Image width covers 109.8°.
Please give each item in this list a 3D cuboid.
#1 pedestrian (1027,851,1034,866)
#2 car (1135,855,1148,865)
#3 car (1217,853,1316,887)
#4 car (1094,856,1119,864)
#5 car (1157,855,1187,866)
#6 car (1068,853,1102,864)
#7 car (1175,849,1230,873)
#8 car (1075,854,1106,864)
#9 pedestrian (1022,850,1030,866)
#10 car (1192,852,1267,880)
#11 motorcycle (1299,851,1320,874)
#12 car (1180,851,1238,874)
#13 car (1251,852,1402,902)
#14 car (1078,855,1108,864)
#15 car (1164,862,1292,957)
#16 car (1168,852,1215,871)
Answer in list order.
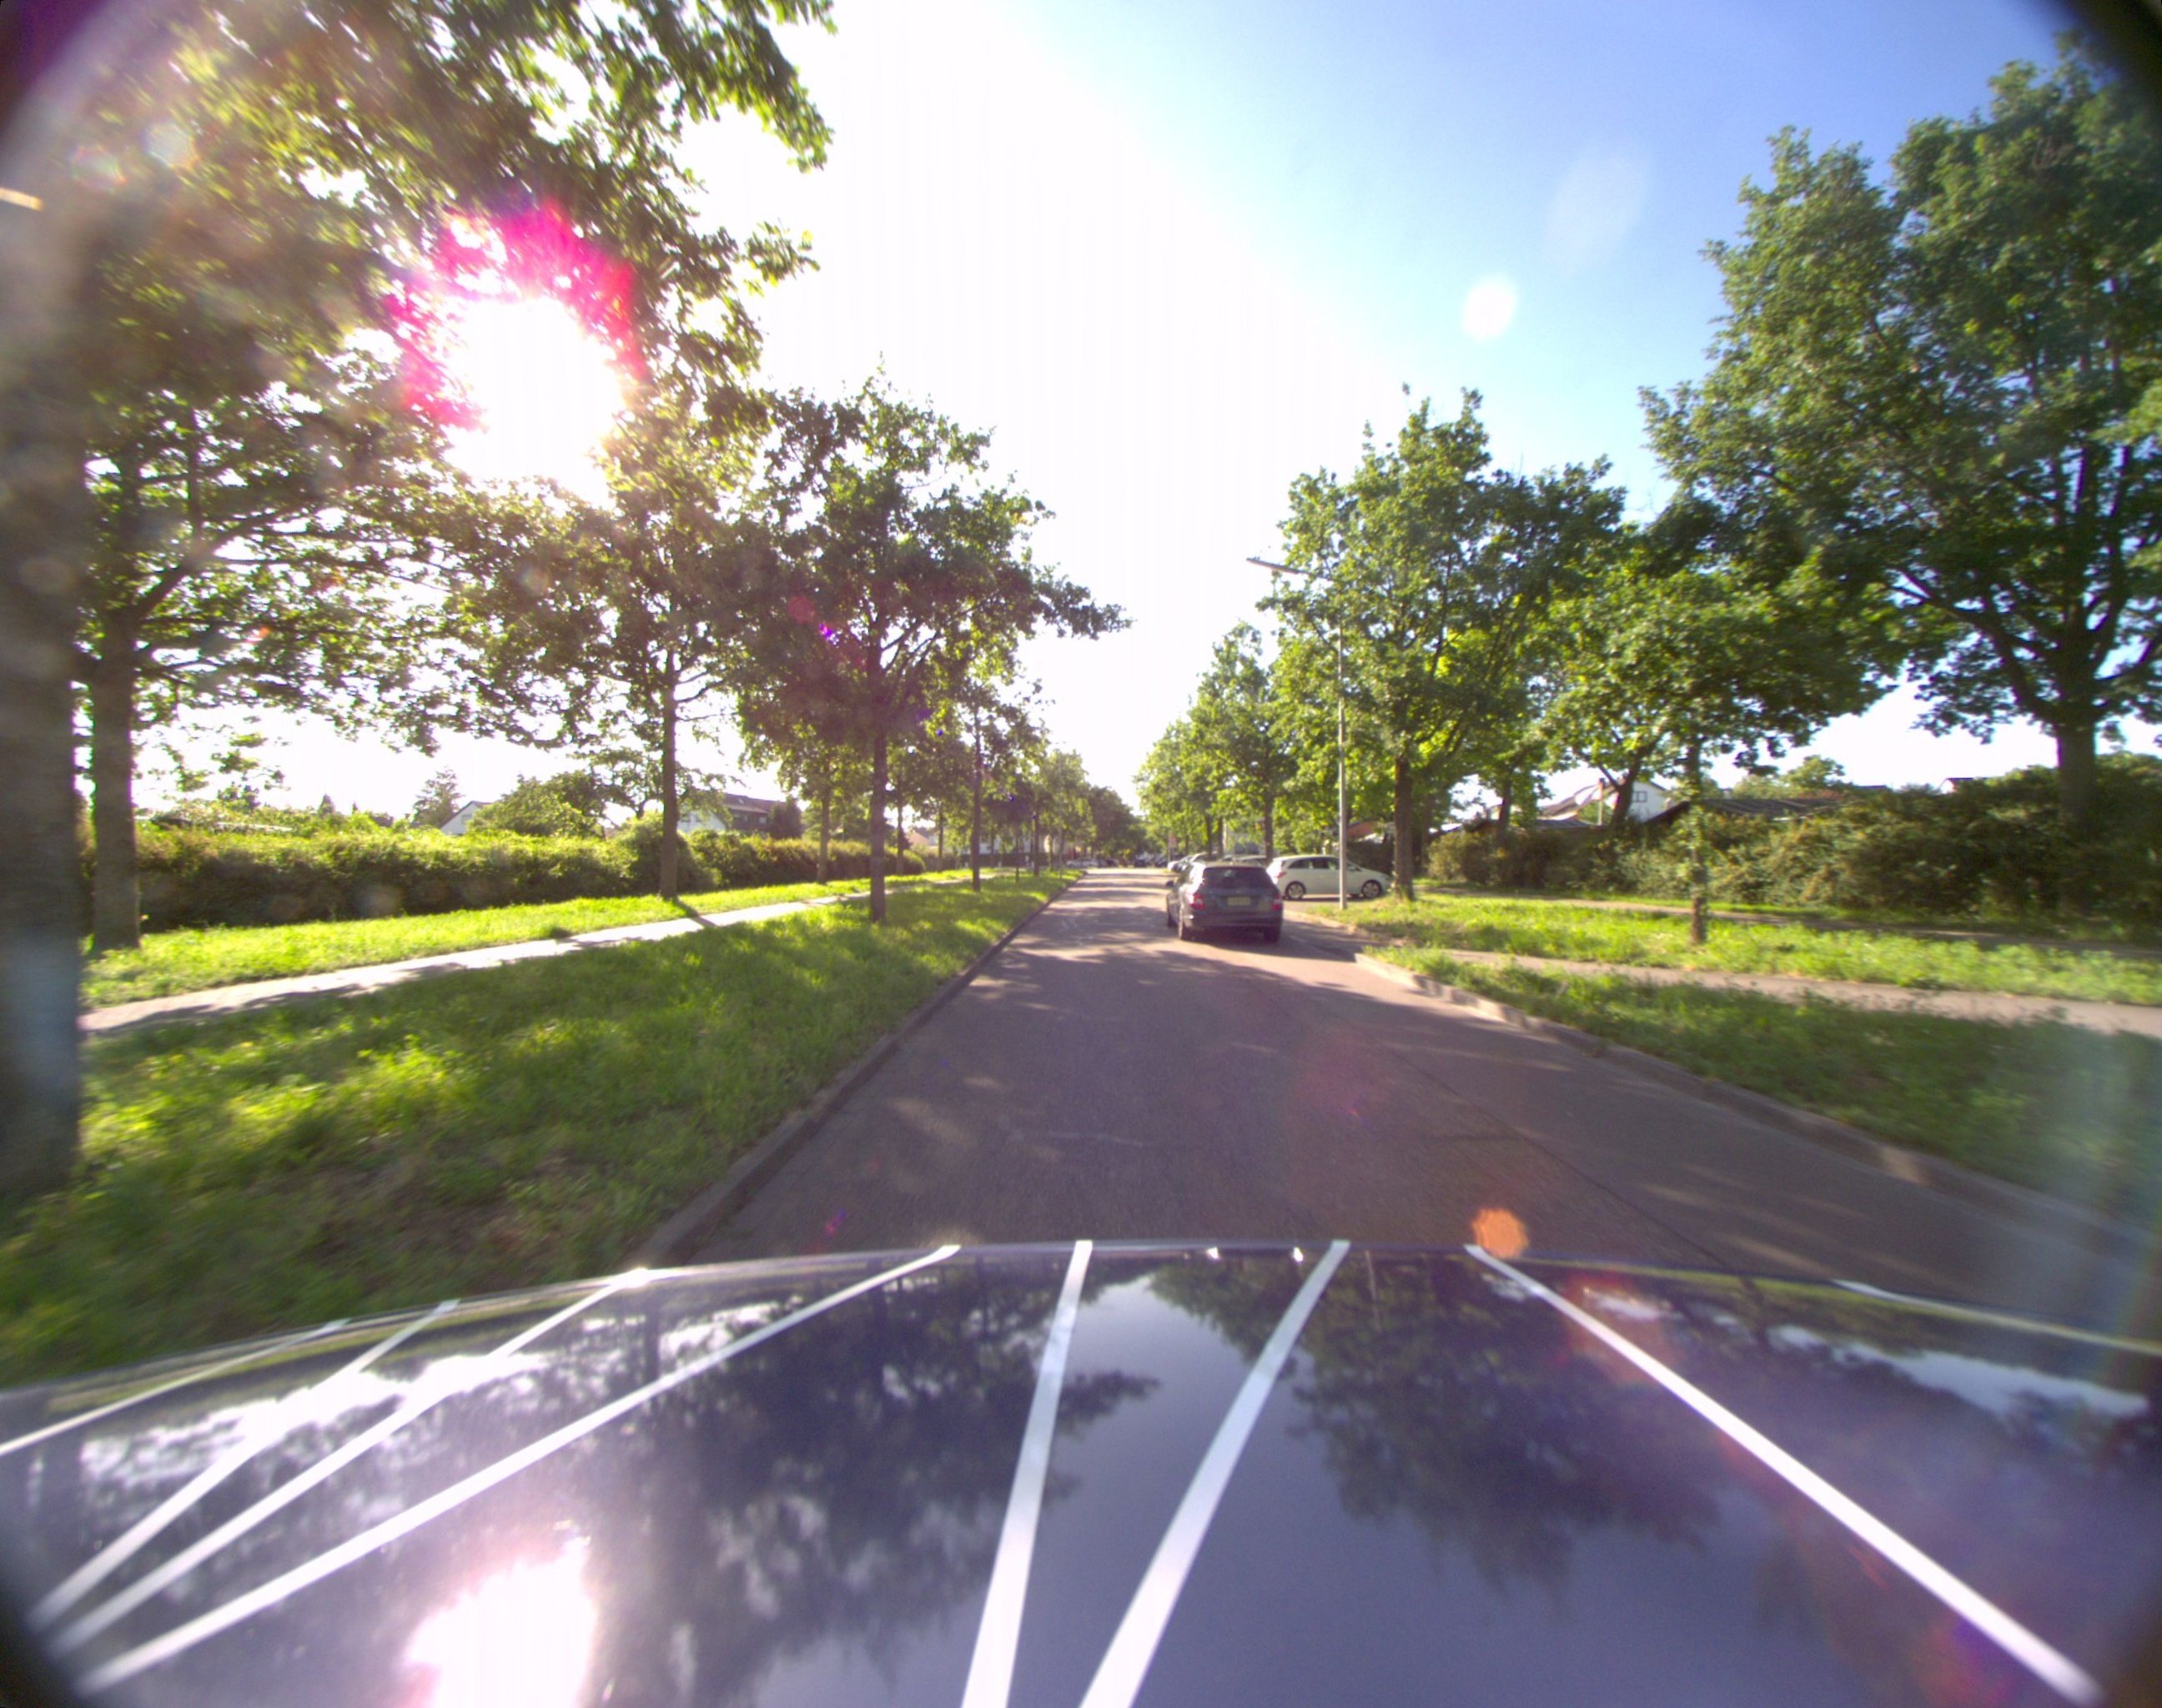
[{"bbox_3d":[-6.318,0.603,95.188,0.869,1.855,0.665,0,1,-9],"label":"pedestrian"},{"bbox_3d":[8.613,0.850,108.910,1.688,1.394,4.428,0,0,3],"label":"car"},{"bbox_3d":[9.231,0.776,38.007,4.423,1.502,2.088,-2,0,1],"label":"car"},{"bbox_3d":[4.649,1.153,139.314,4.510,1.470,1.942,0,0,4],"label":"car"},{"bbox_3d":[12.355,0.854,102.712,4.033,1.470,1.942,0,0,8],"label":"car"},{"bbox_3d":[0.573,0.673,104.666,4.510,1.470,1.942,0,0,4],"label":"car"},{"bbox_3d":[10.140,0.570,63.568,4.238,1.872,1.999,-2,0,2],"label":"car"},{"bbox_3d":[1.385,0.745,113.301,4.510,1.470,1.942,0,0,4],"label":"car"},{"bbox_3d":[-6.964,0.535,96.185,0.834,2.002,0.610,0,1,-9],"label":"pedestrian"},{"bbox_3d":[9.386,0.745,48.293,4.422,1.547,2.089,-2,0,3],"label":"car"},{"bbox_3d":[14.385,0.527,47.898,0.739,1.424,1.991,-4,0,2],"label":"motorcycle"},{"bbox_3d":[9.806,0.651,58.428,4.145,1.547,1.866,-2,0,3],"label":"car"},{"bbox_3d":[8.728,0.797,27.317,4.639,1.549,2.191,-2,0,-2],"label":"car"},{"bbox_3d":[1.849,0.839,118.330,4.510,1.470,1.942,0,0,4],"label":"car"},{"bbox_3d":[2.664,0.935,14.761,1.769,1.520,4.496,1,0,2],"label":"car"},{"bbox_3d":[9.972,0.683,68.967,4.072,1.633,1.876,-2,0,4],"label":"car"}]
